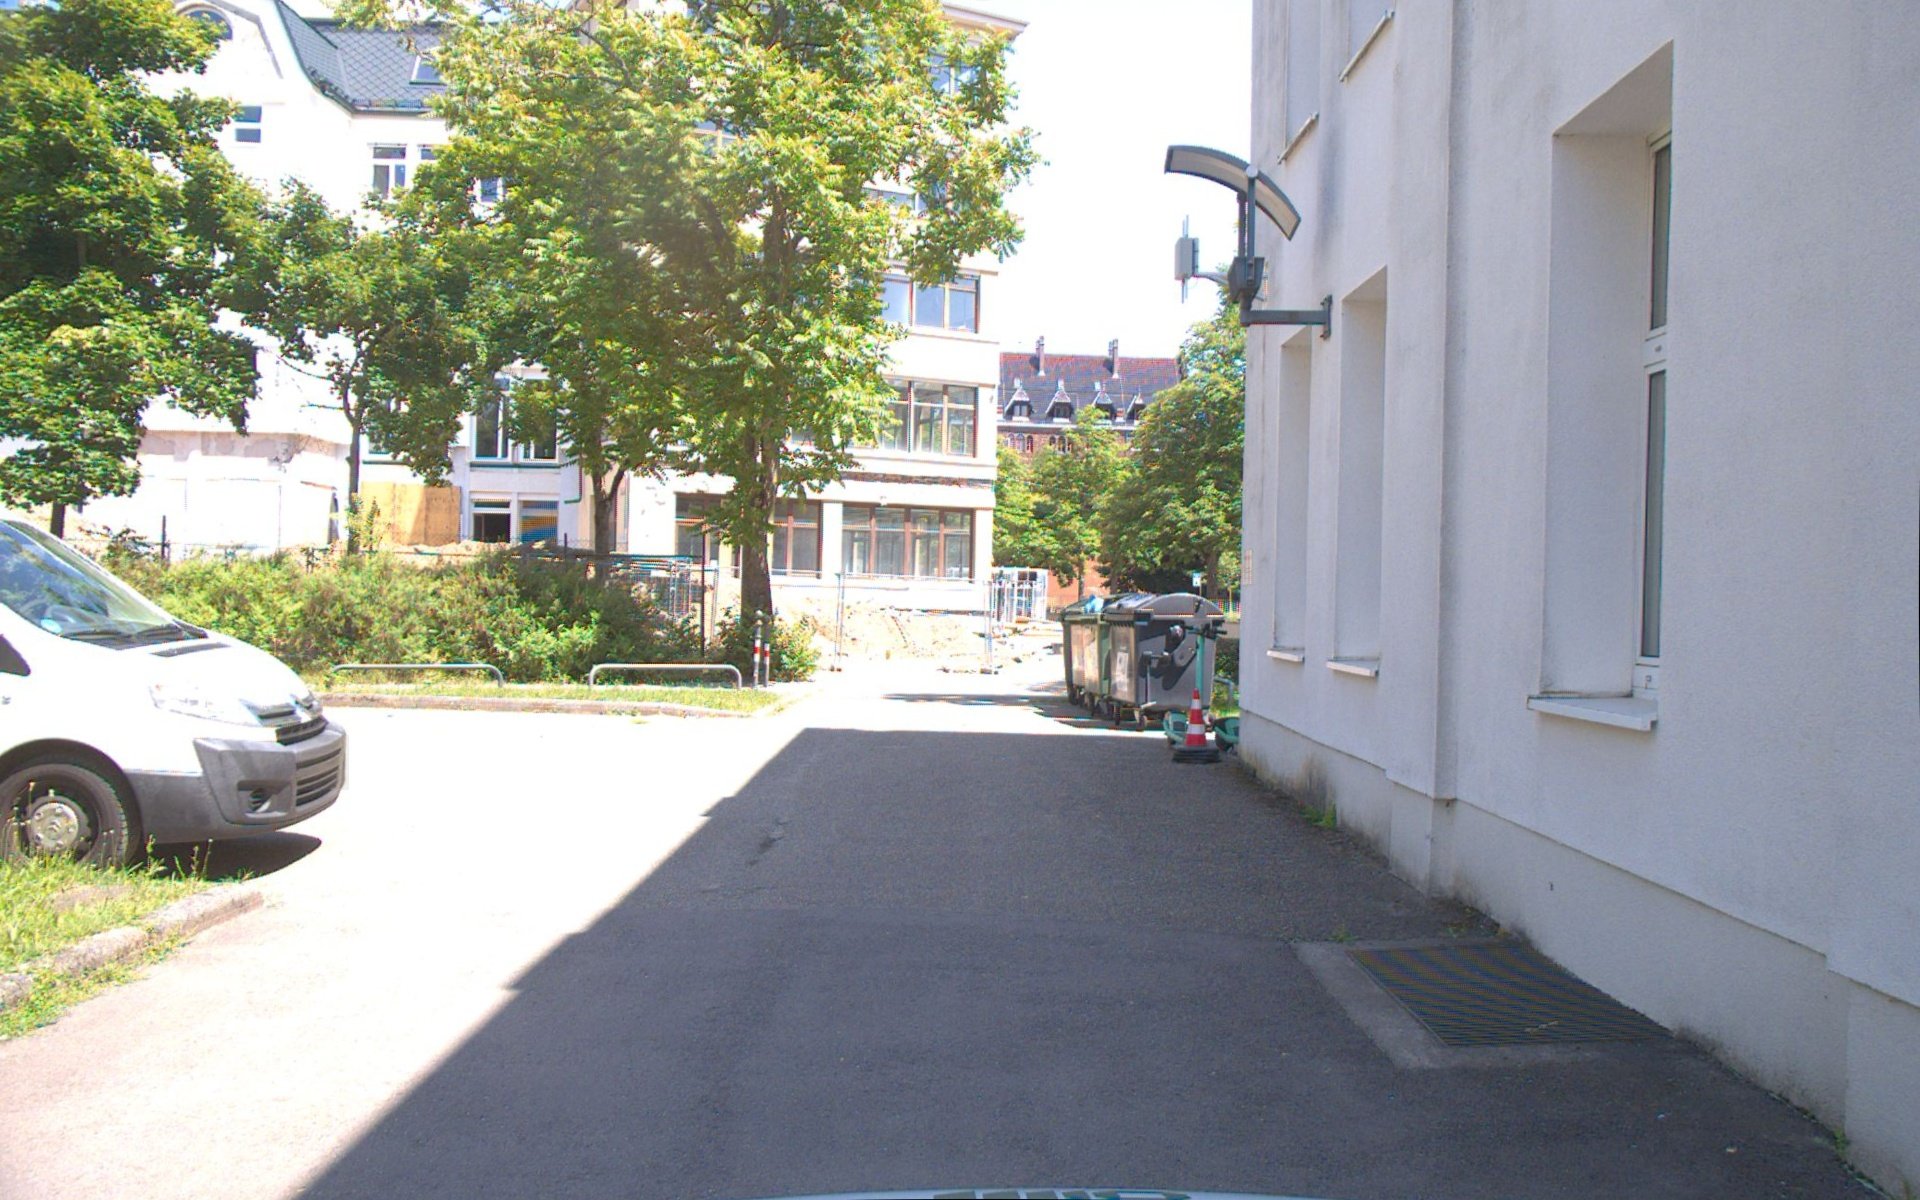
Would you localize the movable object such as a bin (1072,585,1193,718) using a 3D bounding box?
[{"bbox_3d":[2.037,0.606,19.731,1.156,1.495,1.309,2,-1,-6],"label":"movable object such as a bin"}]

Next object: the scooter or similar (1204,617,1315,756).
[{"bbox_3d":[2.717,0.767,15.075,0.456,1.194,1.250,1,-1,-17],"label":"scooter or similar"}]

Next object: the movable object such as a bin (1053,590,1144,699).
[{"bbox_3d":[2.030,0.642,24.096,1.154,1.495,1.334,1,-1,11],"label":"movable object such as a bin"}]

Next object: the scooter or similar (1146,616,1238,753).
[{"bbox_3d":[2.121,0.750,15.235,0.455,1.194,1.354,1,0,-9],"label":"scooter or similar"}]

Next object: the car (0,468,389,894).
[{"bbox_3d":[-5.596,0.339,8.427,4.695,1.944,1.998,1,1,-5],"label":"car"}]

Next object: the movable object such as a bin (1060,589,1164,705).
[{"bbox_3d":[2.053,0.633,22.556,1.156,1.495,1.310,2,-1,-6],"label":"movable object such as a bin"}]

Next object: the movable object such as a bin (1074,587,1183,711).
[{"bbox_3d":[2.131,0.619,21.116,1.156,1.495,1.310,2,-1,-4],"label":"movable object such as a bin"}]

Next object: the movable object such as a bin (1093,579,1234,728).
[{"bbox_3d":[2.191,0.572,17.998,1.134,1.532,1.459,2,-1,-9],"label":"movable object such as a bin"}]
